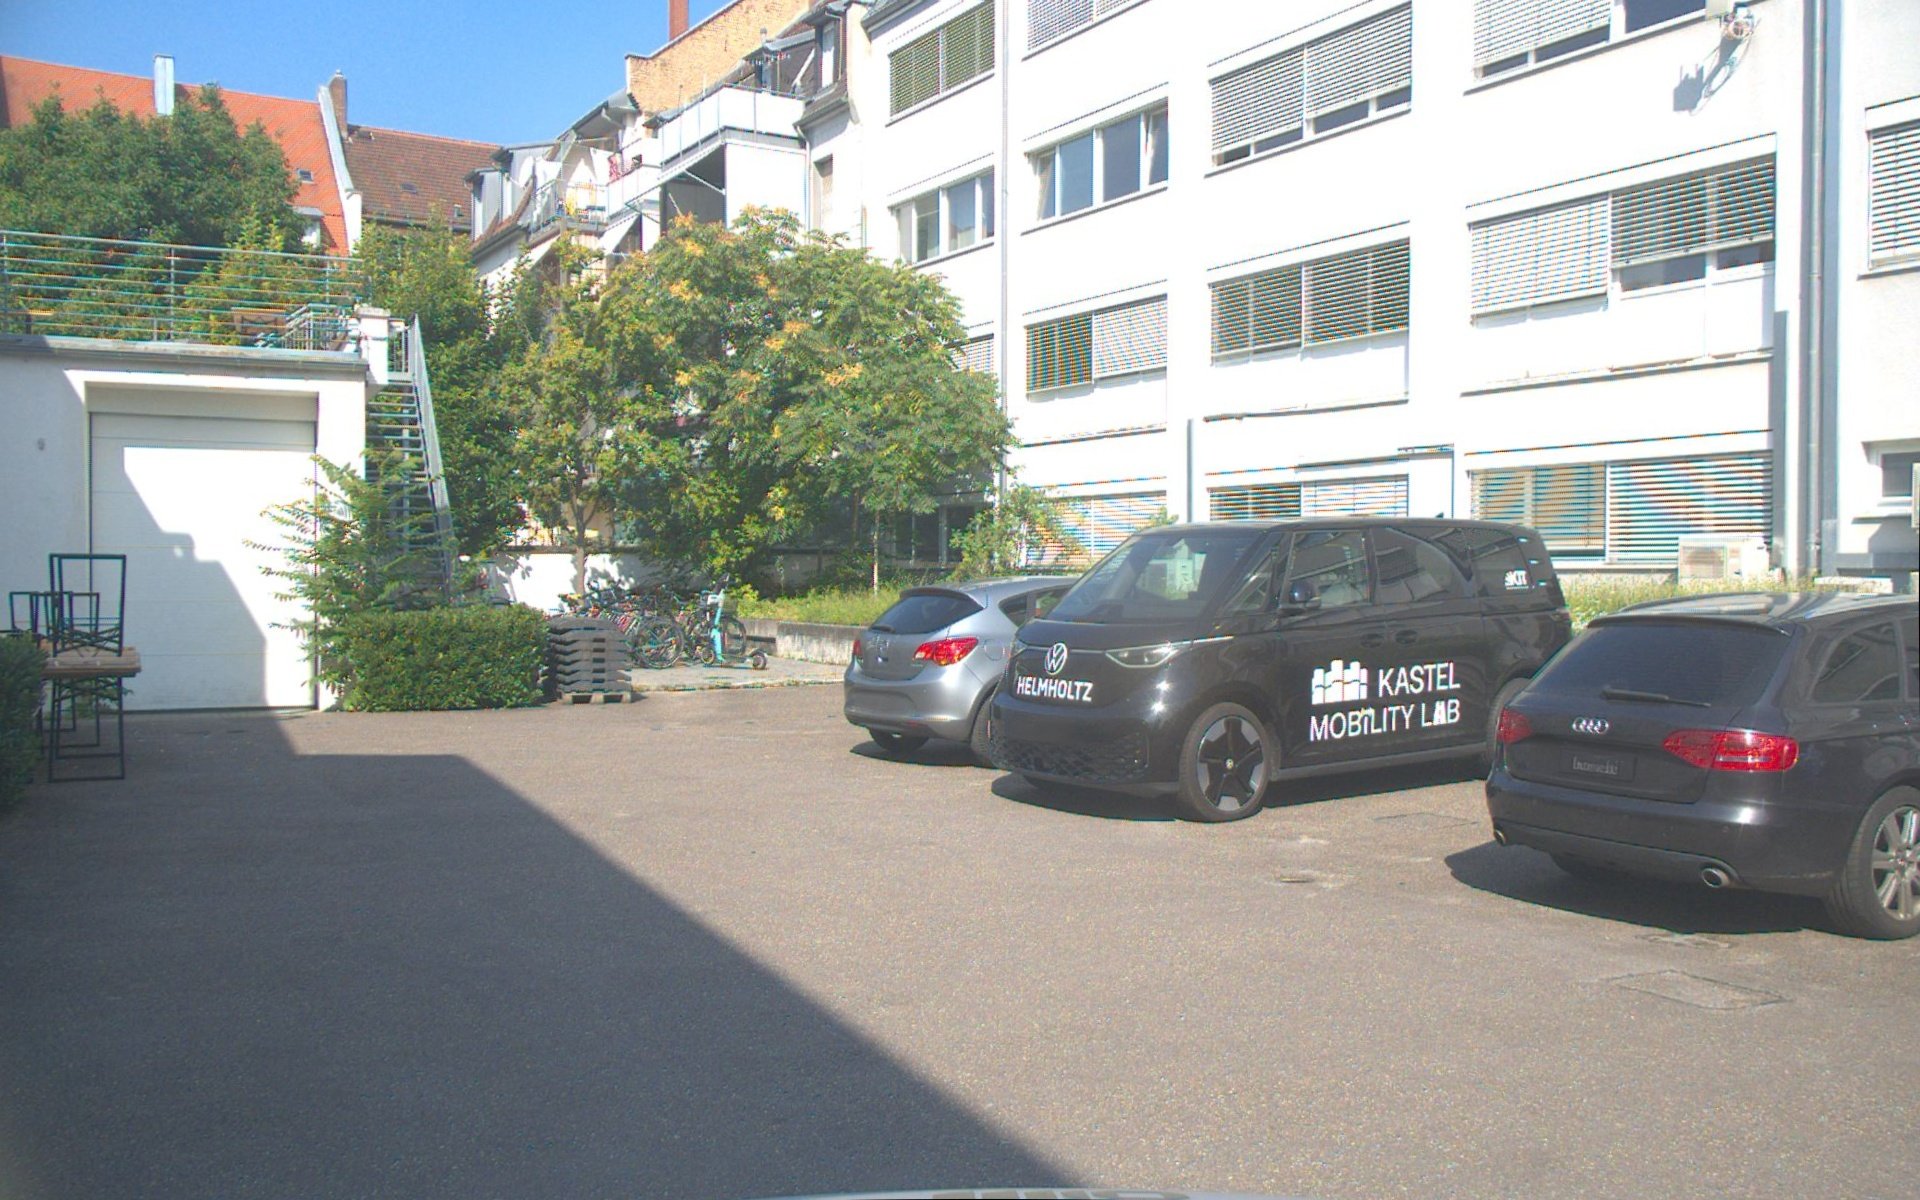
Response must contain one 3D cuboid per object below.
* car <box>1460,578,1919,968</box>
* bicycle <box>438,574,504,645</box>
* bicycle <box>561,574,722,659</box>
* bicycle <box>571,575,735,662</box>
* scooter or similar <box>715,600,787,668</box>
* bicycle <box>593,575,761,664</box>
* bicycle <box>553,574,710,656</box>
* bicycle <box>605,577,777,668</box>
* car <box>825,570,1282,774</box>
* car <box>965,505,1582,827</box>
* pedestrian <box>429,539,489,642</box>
[{"bbox_3d":[4.613,0.645,8.121,4.183,1.462,1.676,-1,2,-28],"label":"car"},{"bbox_3d":[-8.654,0.153,29.341,0.478,1.163,1.995,0,2,3],"label":"bicycle"},{"bbox_3d":[-4.913,0.252,25.591,2.381,1.268,0.522,0,1,-26],"label":"bicycle"},{"bbox_3d":[-4.630,0.278,25.040,2.381,1.268,0.522,0,1,-26],"label":"bicycle"},{"bbox_3d":[-2.996,0.475,23.688,0.977,0.940,0.360,1,1,27],"label":"scooter or similar"},{"bbox_3d":[-4.151,0.282,24.336,2.381,1.268,0.522,0,1,-26],"label":"bicycle"},{"bbox_3d":[-5.186,0.236,26.180,2.381,1.268,0.522,0,1,-26],"label":"bicycle"},{"bbox_3d":[-3.845,0.317,23.737,2.381,1.268,0.522,0,1,-26],"label":"bicycle"},{"bbox_3d":[0.884,0.508,14.253,3.871,1.491,1.640,-1,2,-39],"label":"car"},{"bbox_3d":[2.312,0.330,11.744,4.299,1.891,1.891,-1,2,-35],"label":"car"},{"bbox_3d":[-8.846,-0.171,29.229,0.840,1.802,0.611,1,1,3],"label":"pedestrian"}]
